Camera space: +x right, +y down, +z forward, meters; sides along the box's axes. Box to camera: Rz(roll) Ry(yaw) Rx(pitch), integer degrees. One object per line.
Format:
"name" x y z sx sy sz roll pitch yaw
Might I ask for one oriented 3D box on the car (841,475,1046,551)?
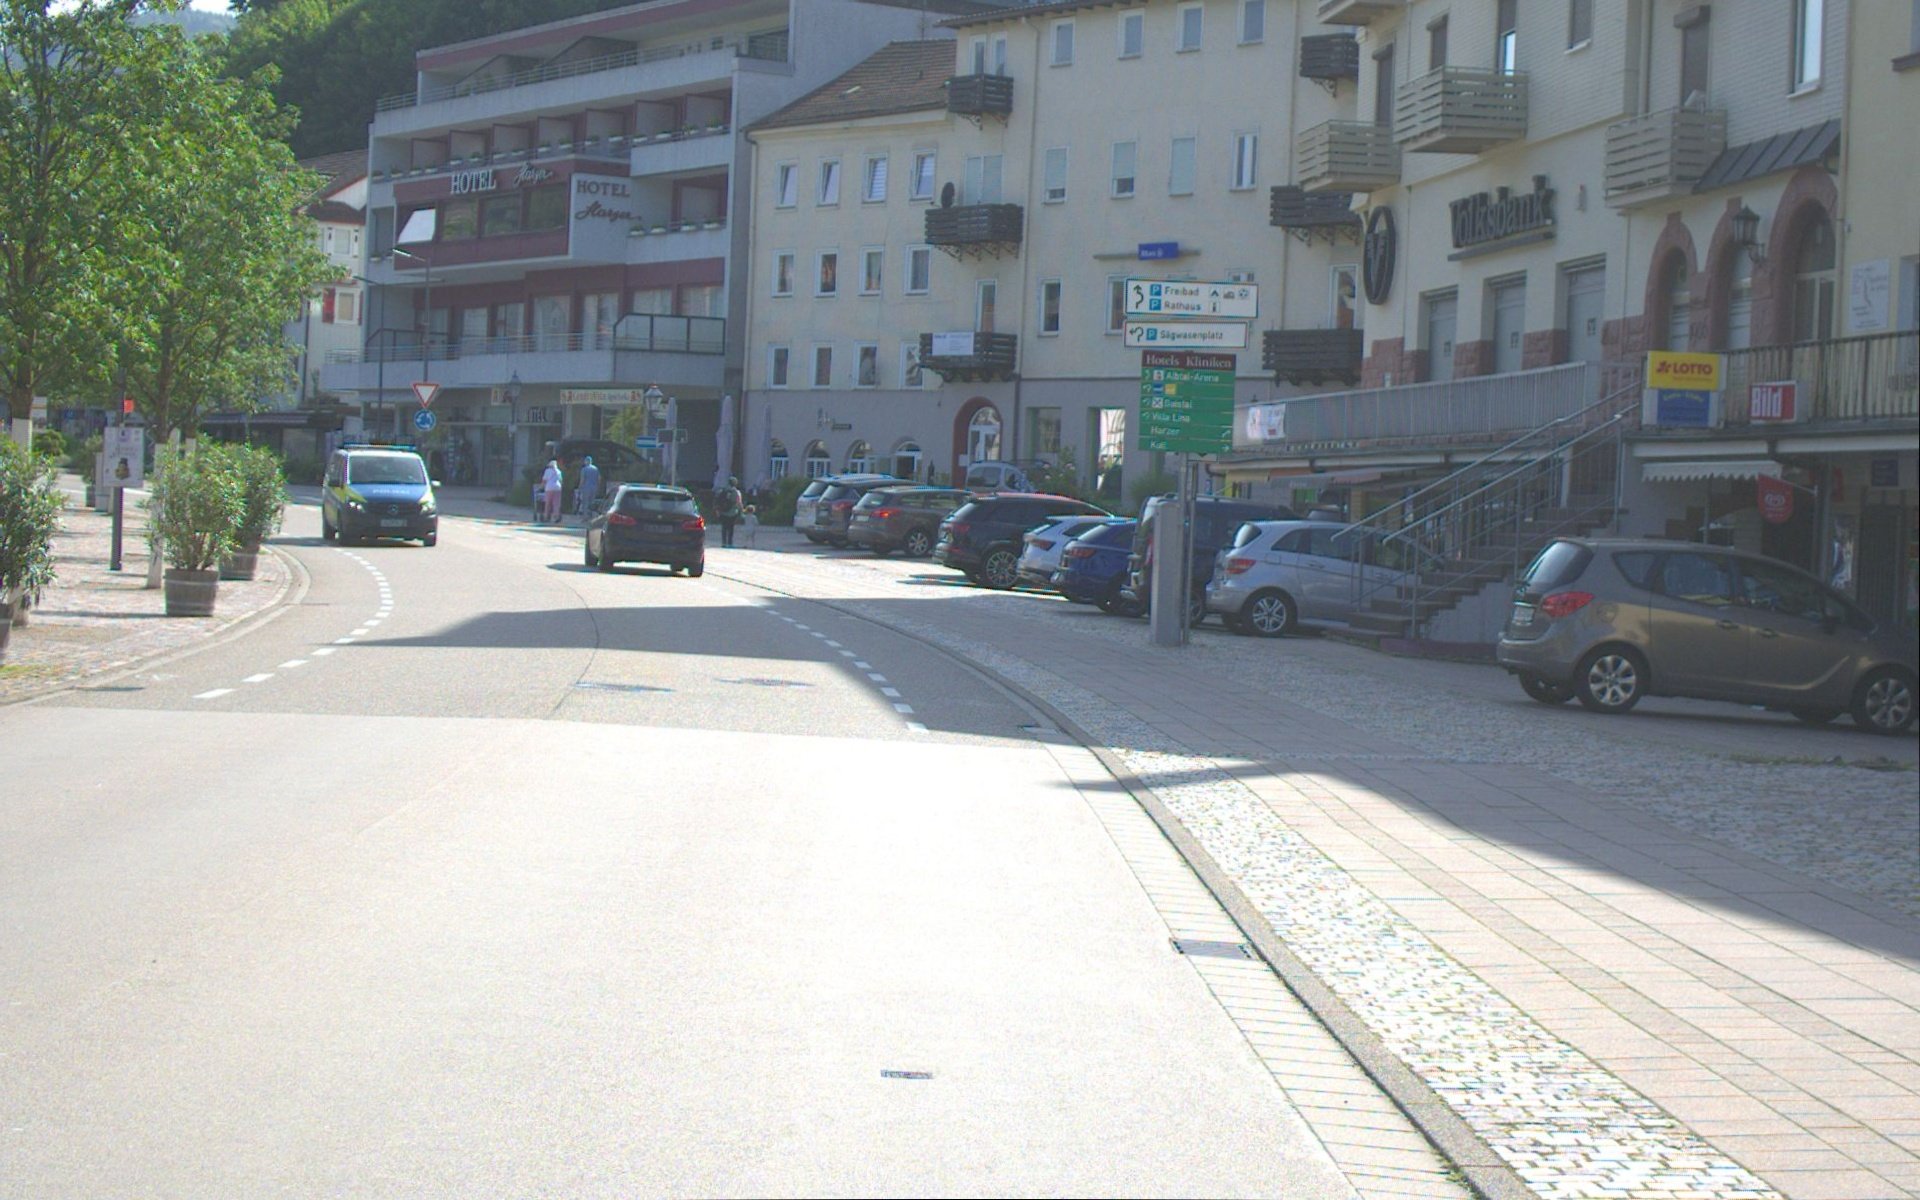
"car" -0.358 -1.881 73.806 4.009 1.511 1.773 -1 4 -26

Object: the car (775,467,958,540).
"car" -2.171 -2.259 79.959 3.860 1.607 1.773 -1 4 -26

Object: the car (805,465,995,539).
"car" -1.353 -2.217 77.152 3.860 1.544 1.773 -1 4 -26

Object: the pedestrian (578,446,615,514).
"pedestrian" -9.614 -3.173 90.861 0.668 1.722 0.708 2 2 -28

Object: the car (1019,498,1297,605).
"car" 3.269 -0.805 57.270 4.356 1.456 1.773 4 0 -3

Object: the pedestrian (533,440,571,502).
"pedestrian" -10.792 -3.424 90.907 0.757 1.588 0.628 2 2 -28

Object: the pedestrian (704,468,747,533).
"pedestrian" -5.273 -2.235 77.253 0.735 1.437 0.633 -1 3 -36

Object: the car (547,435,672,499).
"car" -10.159 -3.847 99.560 3.162 1.657 1.595 2 2 -26

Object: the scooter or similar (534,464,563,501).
"scooter or similar" -10.900 -3.117 91.076 0.596 0.947 0.474 2 2 -29

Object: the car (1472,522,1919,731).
"car" 6.890 0.232 31.590 3.858 1.549 1.761 5 2 -8

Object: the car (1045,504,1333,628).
"car" 3.352 -0.510 50.778 3.909 1.455 1.736 5 2 -6

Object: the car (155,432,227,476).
"car" -31.601 -5.999 141.137 1.676 1.615 4.001 2 2 -30

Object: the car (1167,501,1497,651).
"car" 4.866 -0.329 45.308 3.909 1.583 1.775 5 2 -6

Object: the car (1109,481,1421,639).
"car" 4.223 -0.566 47.995 3.909 1.798 1.858 5 1 -6

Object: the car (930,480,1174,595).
"car" 1.632 -1.144 62.076 4.083 1.660 1.773 5 2 -6

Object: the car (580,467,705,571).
"car" -5.623 -1.452 60.535 1.727 1.569 3.755 3 3 -12

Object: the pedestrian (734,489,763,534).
"pedestrian" -4.776 -1.999 77.504 0.417 0.998 0.531 -1 3 -38

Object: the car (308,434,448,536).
"car" -11.774 -2.334 69.305 1.854 1.946 5.019 1 2 -20
